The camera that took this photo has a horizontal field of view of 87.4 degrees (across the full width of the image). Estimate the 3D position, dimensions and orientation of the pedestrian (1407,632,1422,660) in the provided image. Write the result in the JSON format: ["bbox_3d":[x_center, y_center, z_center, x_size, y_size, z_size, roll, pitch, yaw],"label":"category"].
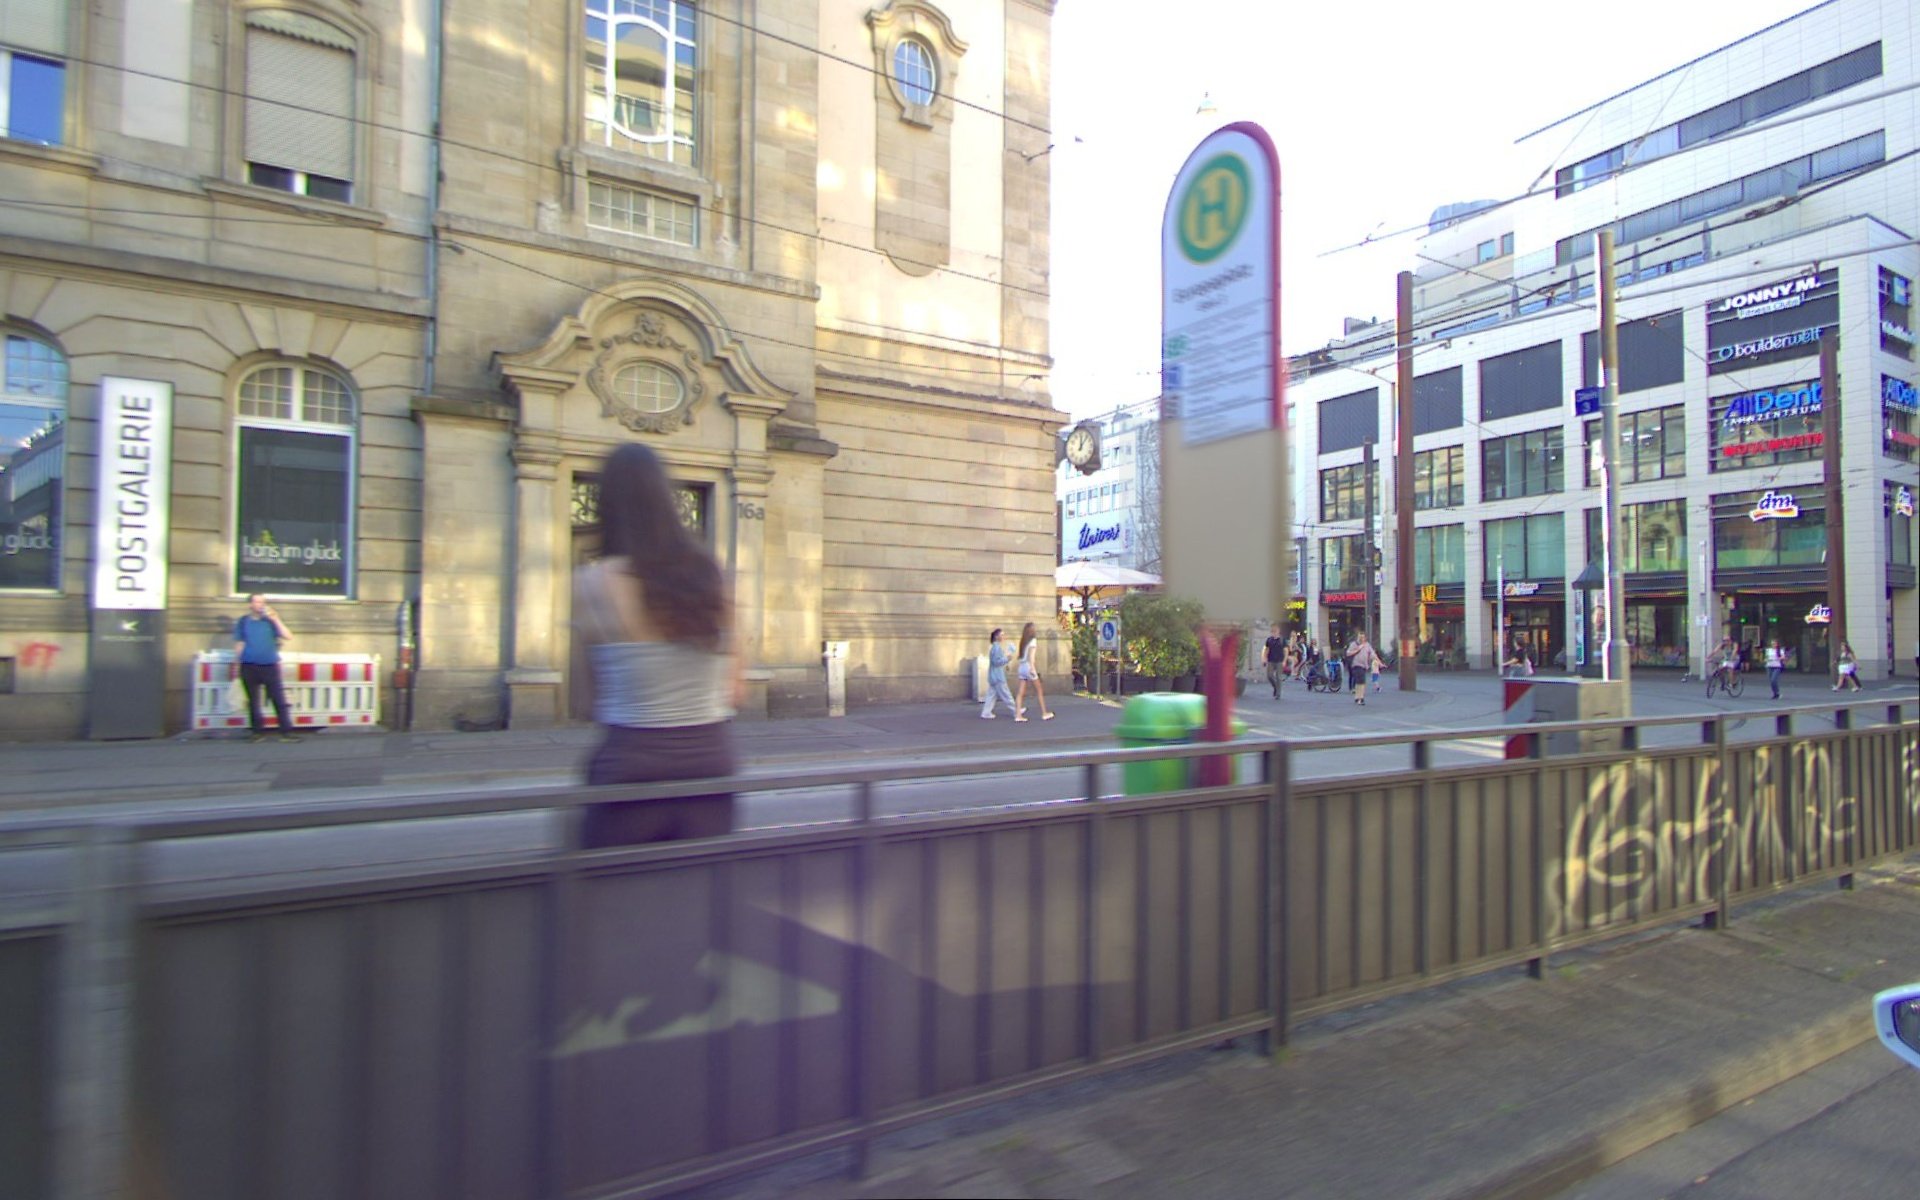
[{"bbox_3d":[28.145,2.857,62.187,0.568,1.702,0.671,2,-1,-29],"label":"pedestrian"}]

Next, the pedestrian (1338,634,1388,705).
[{"bbox_3d":[9.653,1.652,24.089,0.789,1.650,0.834,0,-1,-9],"label":"pedestrian"}]

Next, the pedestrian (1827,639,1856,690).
[{"bbox_3d":[29.630,2.171,33.773,0.643,1.696,0.526,1,-2,-29],"label":"pedestrian"}]

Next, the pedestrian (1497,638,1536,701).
[{"bbox_3d":[14.720,1.834,26.579,0.810,1.635,0.691,-1,-2,35],"label":"pedestrian"}]

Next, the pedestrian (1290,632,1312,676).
[{"bbox_3d":[13.435,2.125,39.558,0.641,1.696,0.527,1,-2,-24],"label":"pedestrian"}]

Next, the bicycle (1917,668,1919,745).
[{"bbox_3d":[13.997,1.513,13.916,0.618,1.118,1.623,-1,-4,28],"label":"bicycle"}]

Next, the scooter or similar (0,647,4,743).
[{"bbox_3d":[-12.499,1.174,12.117,1.277,1.197,0.485,2,-1,-28],"label":"scooter or similar"}]

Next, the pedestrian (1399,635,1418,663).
[{"bbox_3d":[27.495,2.981,61.606,0.675,1.702,0.810,2,-1,-29],"label":"pedestrian"}]

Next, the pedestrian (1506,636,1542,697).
[{"bbox_3d":[15.374,1.802,27.381,0.759,1.635,0.665,-1,-2,35],"label":"pedestrian"}]

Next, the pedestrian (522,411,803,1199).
[{"bbox_3d":[-0.670,0.468,2.255,0.497,1.663,0.355,2,-1,-32],"label":"pedestrian"}]

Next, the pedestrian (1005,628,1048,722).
[{"bbox_3d":[1.121,1.255,16.924,0.520,1.545,0.499,-1,-2,43],"label":"pedestrian"}]

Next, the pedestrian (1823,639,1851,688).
[{"bbox_3d":[30.914,2.229,35.411,0.643,1.696,0.526,1,-2,-29],"label":"pedestrian"}]

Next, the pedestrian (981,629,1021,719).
[{"bbox_3d":[0.720,1.291,17.653,0.512,1.545,0.499,-1,-2,39],"label":"pedestrian"}]

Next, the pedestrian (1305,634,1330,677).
[{"bbox_3d":[14.157,2.181,39.772,0.744,1.696,0.527,1,-2,-24],"label":"pedestrian"}]

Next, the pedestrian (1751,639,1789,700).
[{"bbox_3d":[22.778,1.939,28.249,0.522,1.696,0.647,1,-2,-21],"label":"pedestrian"}]

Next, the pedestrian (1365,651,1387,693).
[{"bbox_3d":[12.547,2.163,30.308,0.476,1.259,0.412,0,-2,-7],"label":"pedestrian"}]

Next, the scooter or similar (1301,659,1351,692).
[{"bbox_3d":[10.870,2.239,29.871,0.878,0.916,1.090,1,-2,-24],"label":"scooter or similar"}]

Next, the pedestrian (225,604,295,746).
[{"bbox_3d":[-9.210,0.968,13.241,0.698,1.799,0.617,1,-2,-33],"label":"pedestrian"}]

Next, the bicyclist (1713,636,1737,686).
[{"bbox_3d":[22.445,1.783,29.466,0.558,1.446,0.418,2,-1,-36],"label":"bicyclist"}]

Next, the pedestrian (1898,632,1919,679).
[{"bbox_3d":[38.695,2.257,40.771,0.803,1.879,0.572,1,-1,-18],"label":"pedestrian"}]

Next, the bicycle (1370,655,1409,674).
[{"bbox_3d":[23.483,3.524,54.962,1.888,0.999,0.451,1,-1,5],"label":"bicycle"}]

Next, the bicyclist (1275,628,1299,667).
[{"bbox_3d":[12.469,1.802,38.273,0.856,1.484,0.599,1,-1,20],"label":"bicyclist"}]

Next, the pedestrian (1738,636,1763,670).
[{"bbox_3d":[37.459,2.513,47.605,0.778,1.546,0.572,1,-1,-18],"label":"pedestrian"}]

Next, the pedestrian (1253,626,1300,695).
[{"bbox_3d":[7.836,1.483,24.897,0.680,1.650,0.968,1,-1,-17],"label":"pedestrian"}]

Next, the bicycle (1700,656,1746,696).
[{"bbox_3d":[22.383,2.209,29.451,2.003,1.112,0.569,2,-1,-37],"label":"bicycle"}]

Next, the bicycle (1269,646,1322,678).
[{"bbox_3d":[12.742,2.351,38.164,1.881,1.130,0.701,1,-2,20],"label":"bicycle"}]
